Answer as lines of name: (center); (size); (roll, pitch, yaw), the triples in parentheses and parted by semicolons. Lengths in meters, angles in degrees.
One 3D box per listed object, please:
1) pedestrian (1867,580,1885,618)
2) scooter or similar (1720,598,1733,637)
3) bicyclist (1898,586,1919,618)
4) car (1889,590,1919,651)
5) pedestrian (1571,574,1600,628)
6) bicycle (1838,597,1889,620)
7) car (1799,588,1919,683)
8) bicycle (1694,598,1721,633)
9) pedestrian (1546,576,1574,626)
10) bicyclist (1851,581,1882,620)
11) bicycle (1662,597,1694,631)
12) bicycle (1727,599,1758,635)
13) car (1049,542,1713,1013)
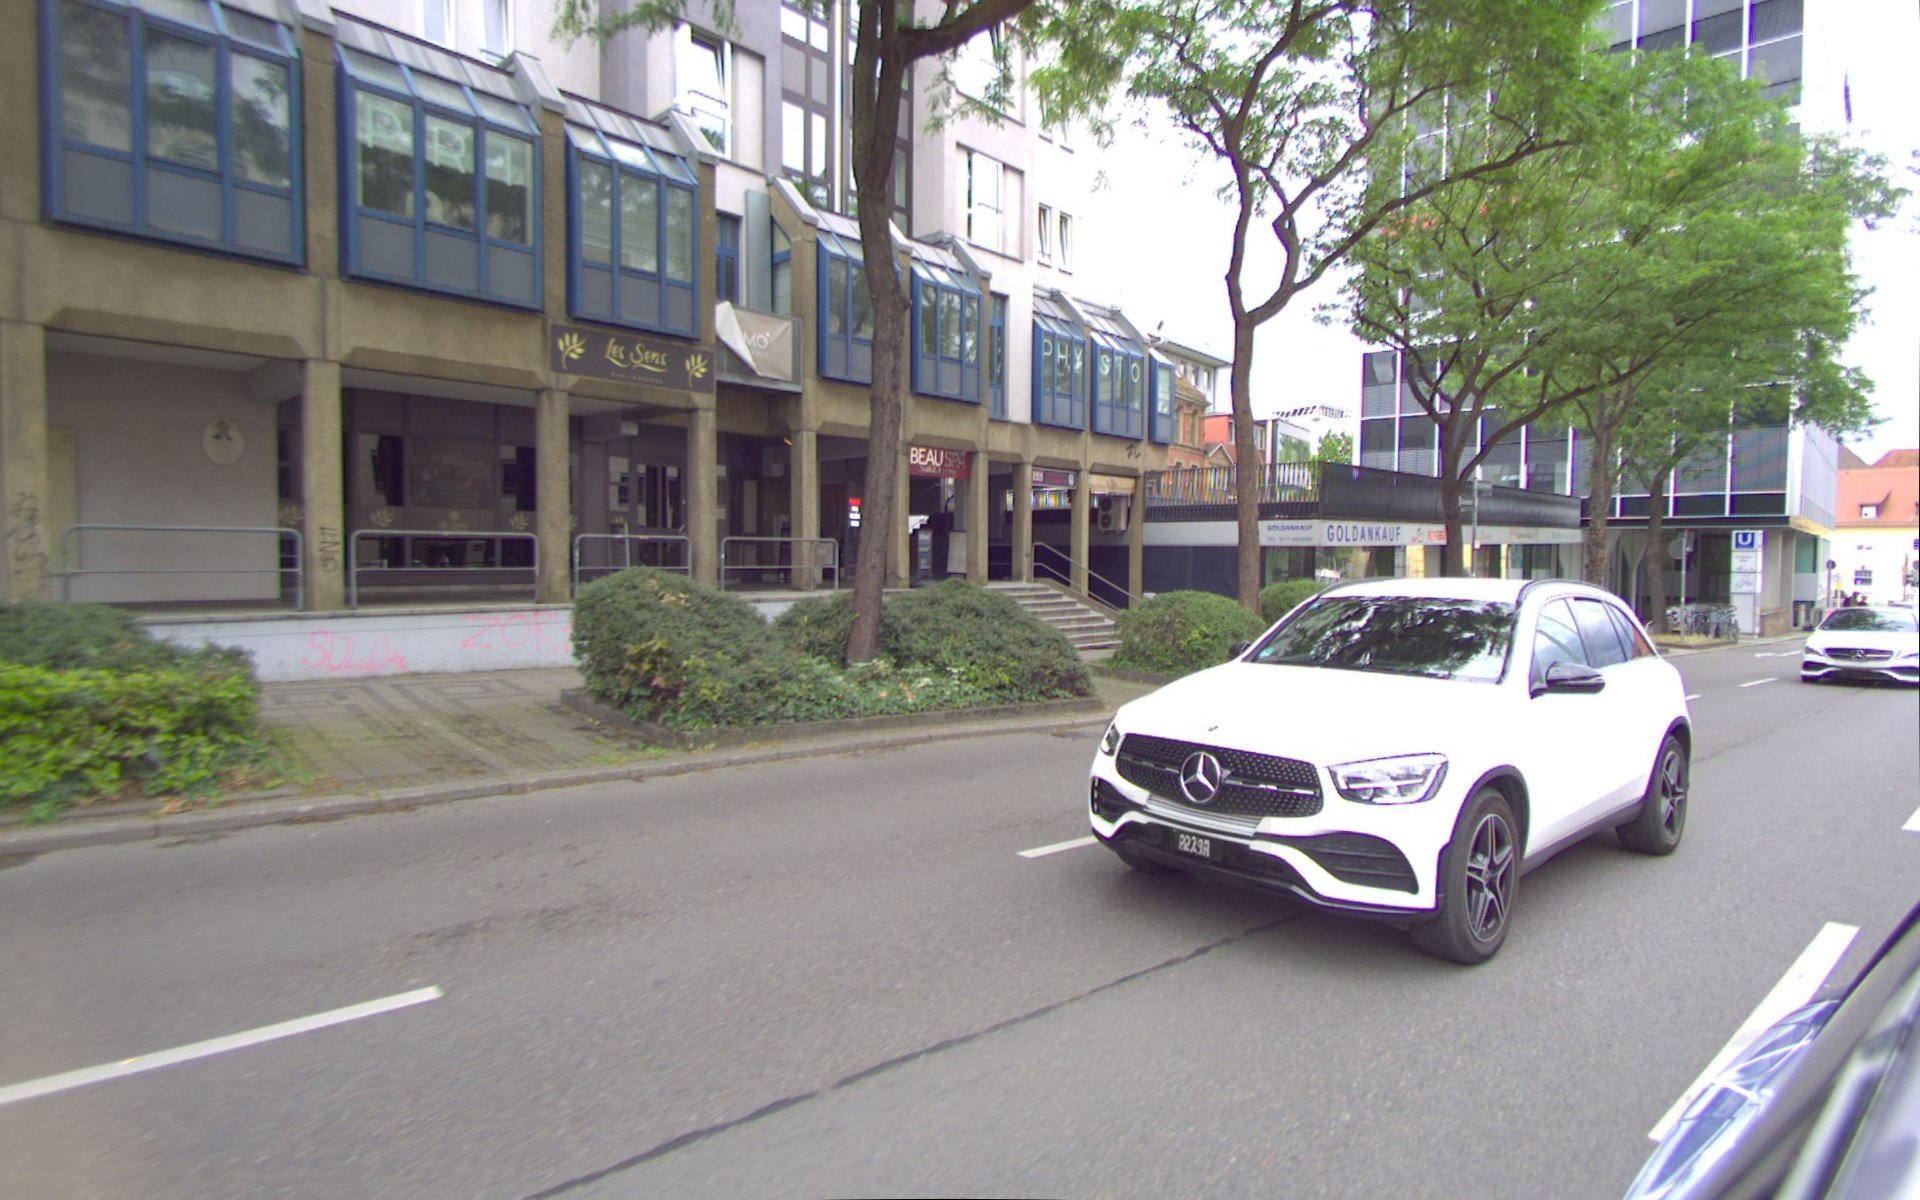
pedestrian: (43.059, -0.072, 47.589); (0.525, 1.732, 0.741); (4, 5, 43)
scooter or similar: (25.865, 0.571, 34.153); (0.305, 1.267, 0.984); (2, 2, 36)
bicyclist: (47.705, 0.092, 50.768); (0.558, 1.568, 0.841); (2, 3, 20)
car: (26.397, 0.545, 27.175); (3.698, 1.551, 1.706); (0, 2, -41)
pedestrian: (21.058, 0.031, 34.076); (0.595, 1.775, 0.926); (4, 2, 43)
bicycle: (45.459, 0.430, 50.957); (0.666, 1.019, 1.772); (3, 2, -16)
car: (17.477, 0.582, 19.090); (4.572, 1.589, 1.868); (0, 1, -42)
bicycle: (25.326, 0.515, 34.276); (0.489, 1.146, 1.858); (2, 2, 43)
pedestrian: (20.462, 0.036, 34.514); (0.595, 1.649, 0.745); (4, 2, 43)
bicyclist: (45.492, 0.021, 50.804); (0.661, 1.868, 0.816); (1, 3, -14)
bicycle: (24.879, 0.472, 35.070); (1.659, 1.146, 0.490); (0, 2, -41)
bicycle: (25.894, 0.552, 33.476); (1.812, 1.146, 0.490); (0, 2, -42)
car: (2.607, 0.581, 5.680); (4.260, 1.667, 1.804); (-1, 2, -42)
